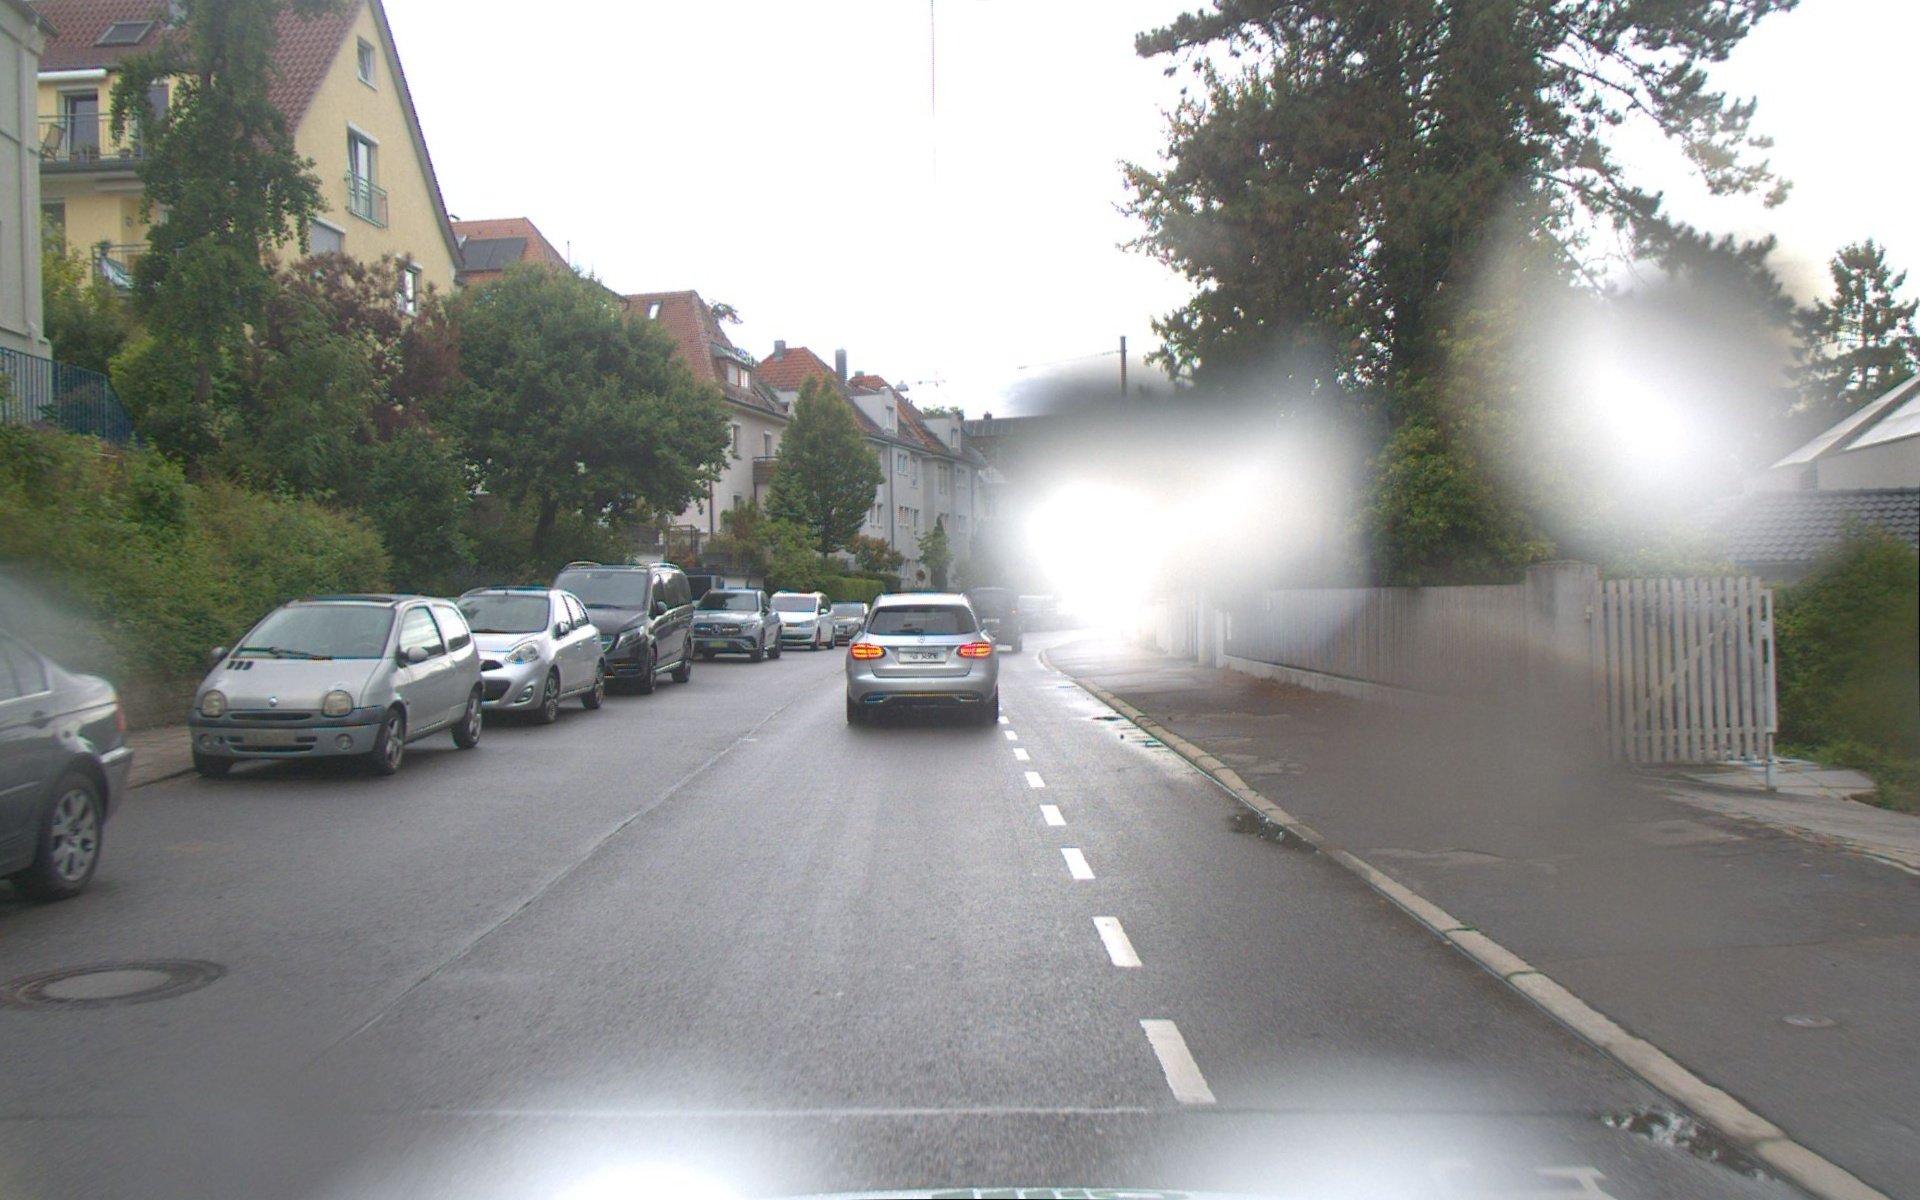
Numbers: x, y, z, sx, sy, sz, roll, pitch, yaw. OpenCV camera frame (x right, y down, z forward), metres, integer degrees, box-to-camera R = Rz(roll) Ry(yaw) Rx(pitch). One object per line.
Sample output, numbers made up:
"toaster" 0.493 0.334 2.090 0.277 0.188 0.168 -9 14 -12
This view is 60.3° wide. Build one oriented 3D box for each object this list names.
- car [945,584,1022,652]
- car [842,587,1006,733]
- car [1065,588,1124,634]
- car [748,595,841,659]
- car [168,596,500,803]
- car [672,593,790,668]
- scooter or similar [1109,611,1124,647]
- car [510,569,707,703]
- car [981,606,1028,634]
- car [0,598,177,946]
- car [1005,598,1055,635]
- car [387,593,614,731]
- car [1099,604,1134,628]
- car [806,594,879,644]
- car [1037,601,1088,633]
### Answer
"car" 0.661 0.521 49.163 1.807 1.937 3.994 0 -1 -6
"car" -0.406 0.633 19.952 1.779 1.584 4.000 0 0 -1
"car" 8.895 0.674 108.659 2.341 2.820 6.535 0 1 19
"car" -4.850 0.755 49.041 1.952 1.732 4.741 2 0 4
"car" -5.355 0.764 14.639 1.613 1.472 3.627 -1 2 -2
"car" -5.310 0.670 38.941 1.952 1.608 4.762 2 0 2
"scooter or similar" 6.024 1.104 63.441 0.440 1.330 1.483 -2 -1 9
"car" -5.410 0.498 26.235 1.952 1.911 5.356 0 0 0
"car" 2.426 1.038 88.676 1.608 1.442 4.616 0 0 13
"car" -5.072 0.812 6.753 1.720 1.472 4.416 -1 2 -2
"car" 4.069 0.924 95.321 1.790 2.092 5.013 0 0 16
"car" -5.389 0.675 19.867 1.660 1.472 3.813 -1 0 0
"car" 10.796 1.072 113.804 1.677 1.472 3.256 0 2 20
"car" -4.037 0.621 57.419 1.754 1.608 4.141 2 0 6
"car" 6.317 1.023 101.327 1.952 1.718 4.679 0 2 19
